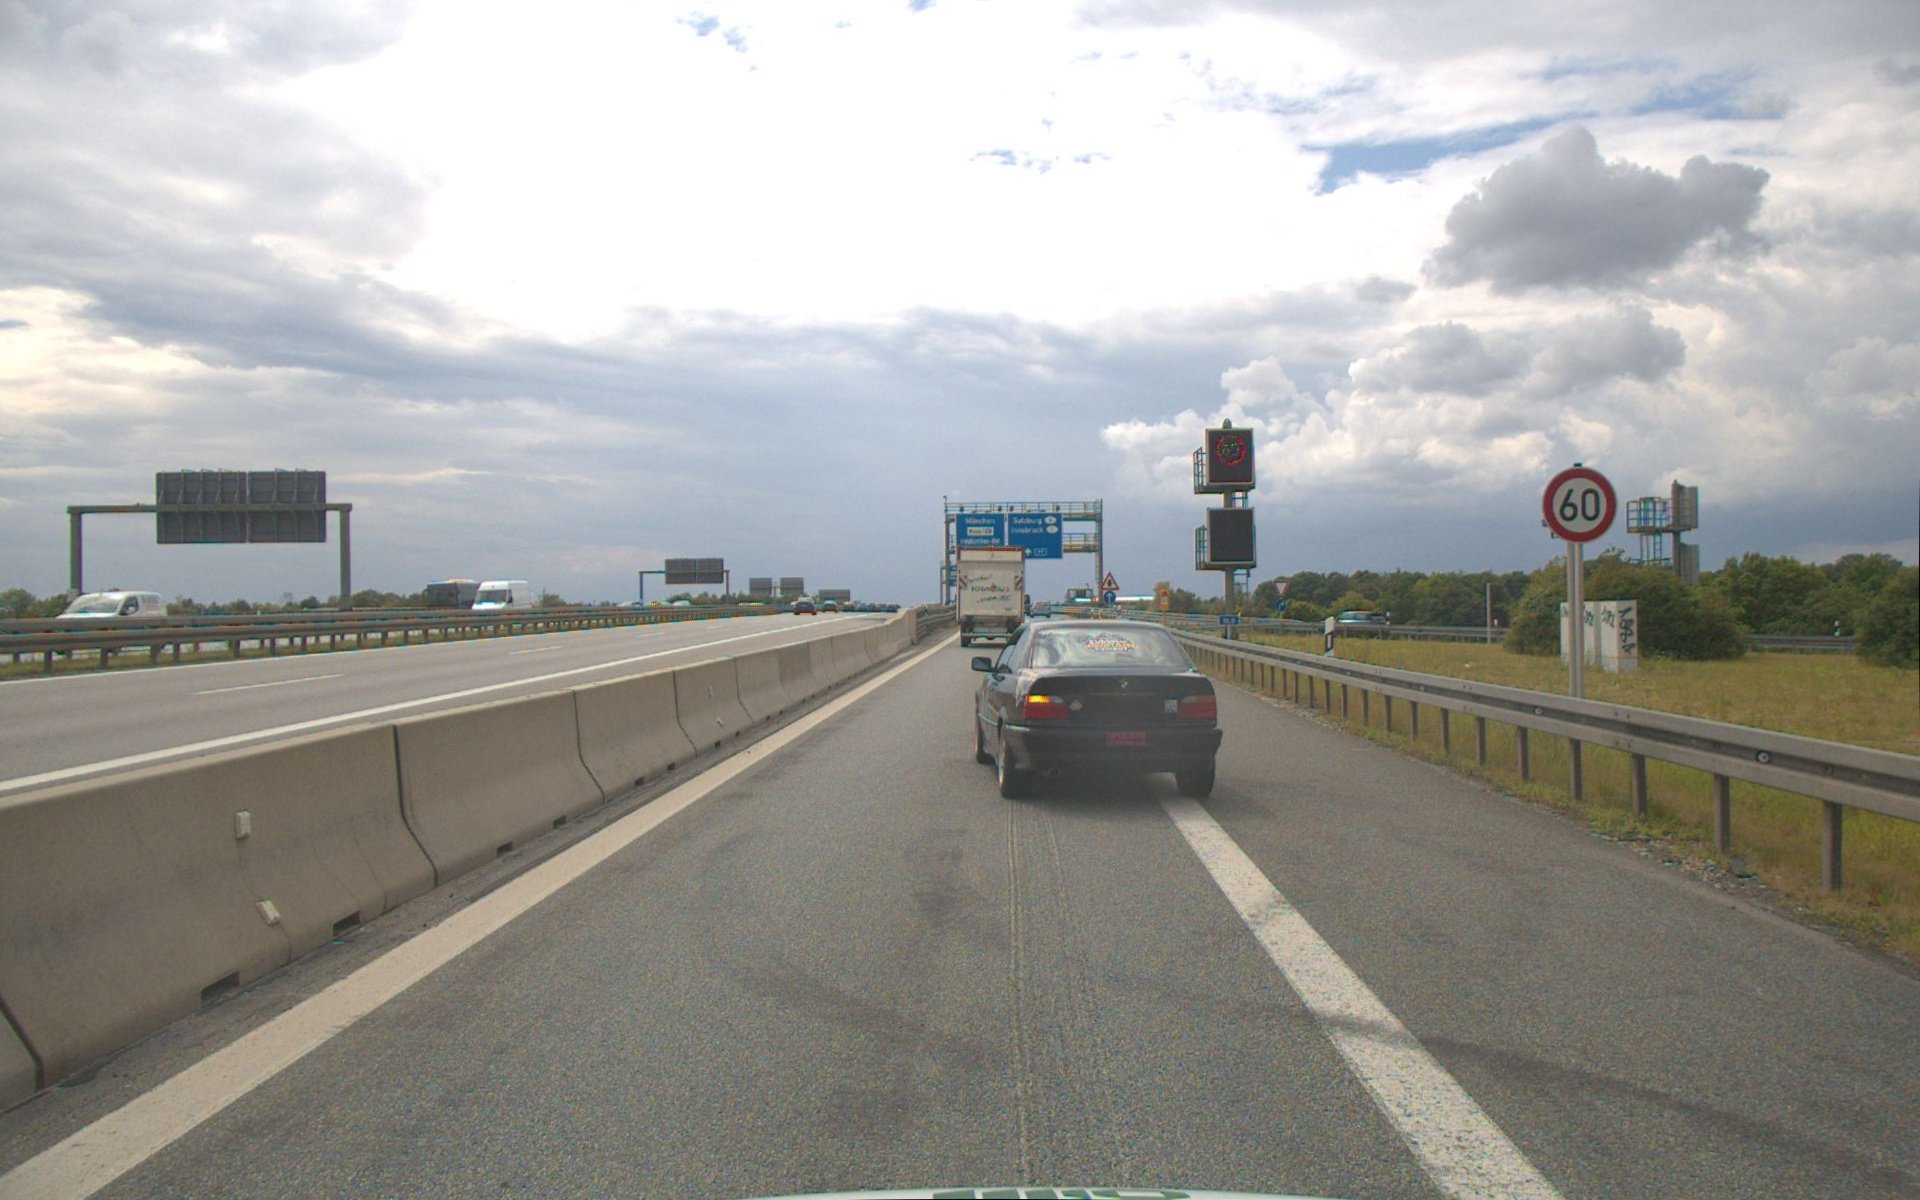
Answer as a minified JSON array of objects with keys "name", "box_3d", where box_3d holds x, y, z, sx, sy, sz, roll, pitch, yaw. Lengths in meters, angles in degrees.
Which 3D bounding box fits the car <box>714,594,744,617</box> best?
[{"name":"car","box_3d":[-17.936,0.436,128.308,1.632,1.736,4.001,1,0,2]}]

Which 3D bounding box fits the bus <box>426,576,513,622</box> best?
[{"name":"bus","box_3d":[-39.410,-0.059,133.476,3.148,3.503,12.991,1,0,0]}]

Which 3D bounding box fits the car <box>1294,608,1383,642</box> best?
[{"name":"car","box_3d":[18.769,1.228,82.158,1.981,1.579,3.943,2,0,-39]}]

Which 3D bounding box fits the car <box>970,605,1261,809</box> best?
[{"name":"car","box_3d":[1.125,0.772,13.790,1.747,1.402,4.133,1,0,-4]}]

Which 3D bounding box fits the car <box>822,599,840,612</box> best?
[{"name":"car","box_3d":[-15.640,0.659,201.183,1.953,1.568,3.998,1,0,-2]}]

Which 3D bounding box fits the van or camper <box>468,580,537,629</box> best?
[{"name":"van or camper","box_3d":[-26.106,0.227,94.685,2.142,2.665,6.903,1,0,-2]}]

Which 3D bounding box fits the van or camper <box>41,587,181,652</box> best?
[{"name":"van or camper","box_3d":[-25.567,0.572,49.986,1.953,1.861,4.347,1,0,0]}]

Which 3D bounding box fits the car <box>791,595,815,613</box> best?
[{"name":"car","box_3d":[-14.723,0.389,155.389,1.953,1.691,4.383,1,0,-1]}]

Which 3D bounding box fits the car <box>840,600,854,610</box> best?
[{"name":"car","box_3d":[-16.414,0.741,240.006,1.953,1.422,3.998,1,0,-2]}]

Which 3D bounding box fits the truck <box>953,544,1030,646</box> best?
[{"name":"truck","box_3d":[1.010,-0.145,54.794,2.354,3.144,6.370,1,0,0]}]
